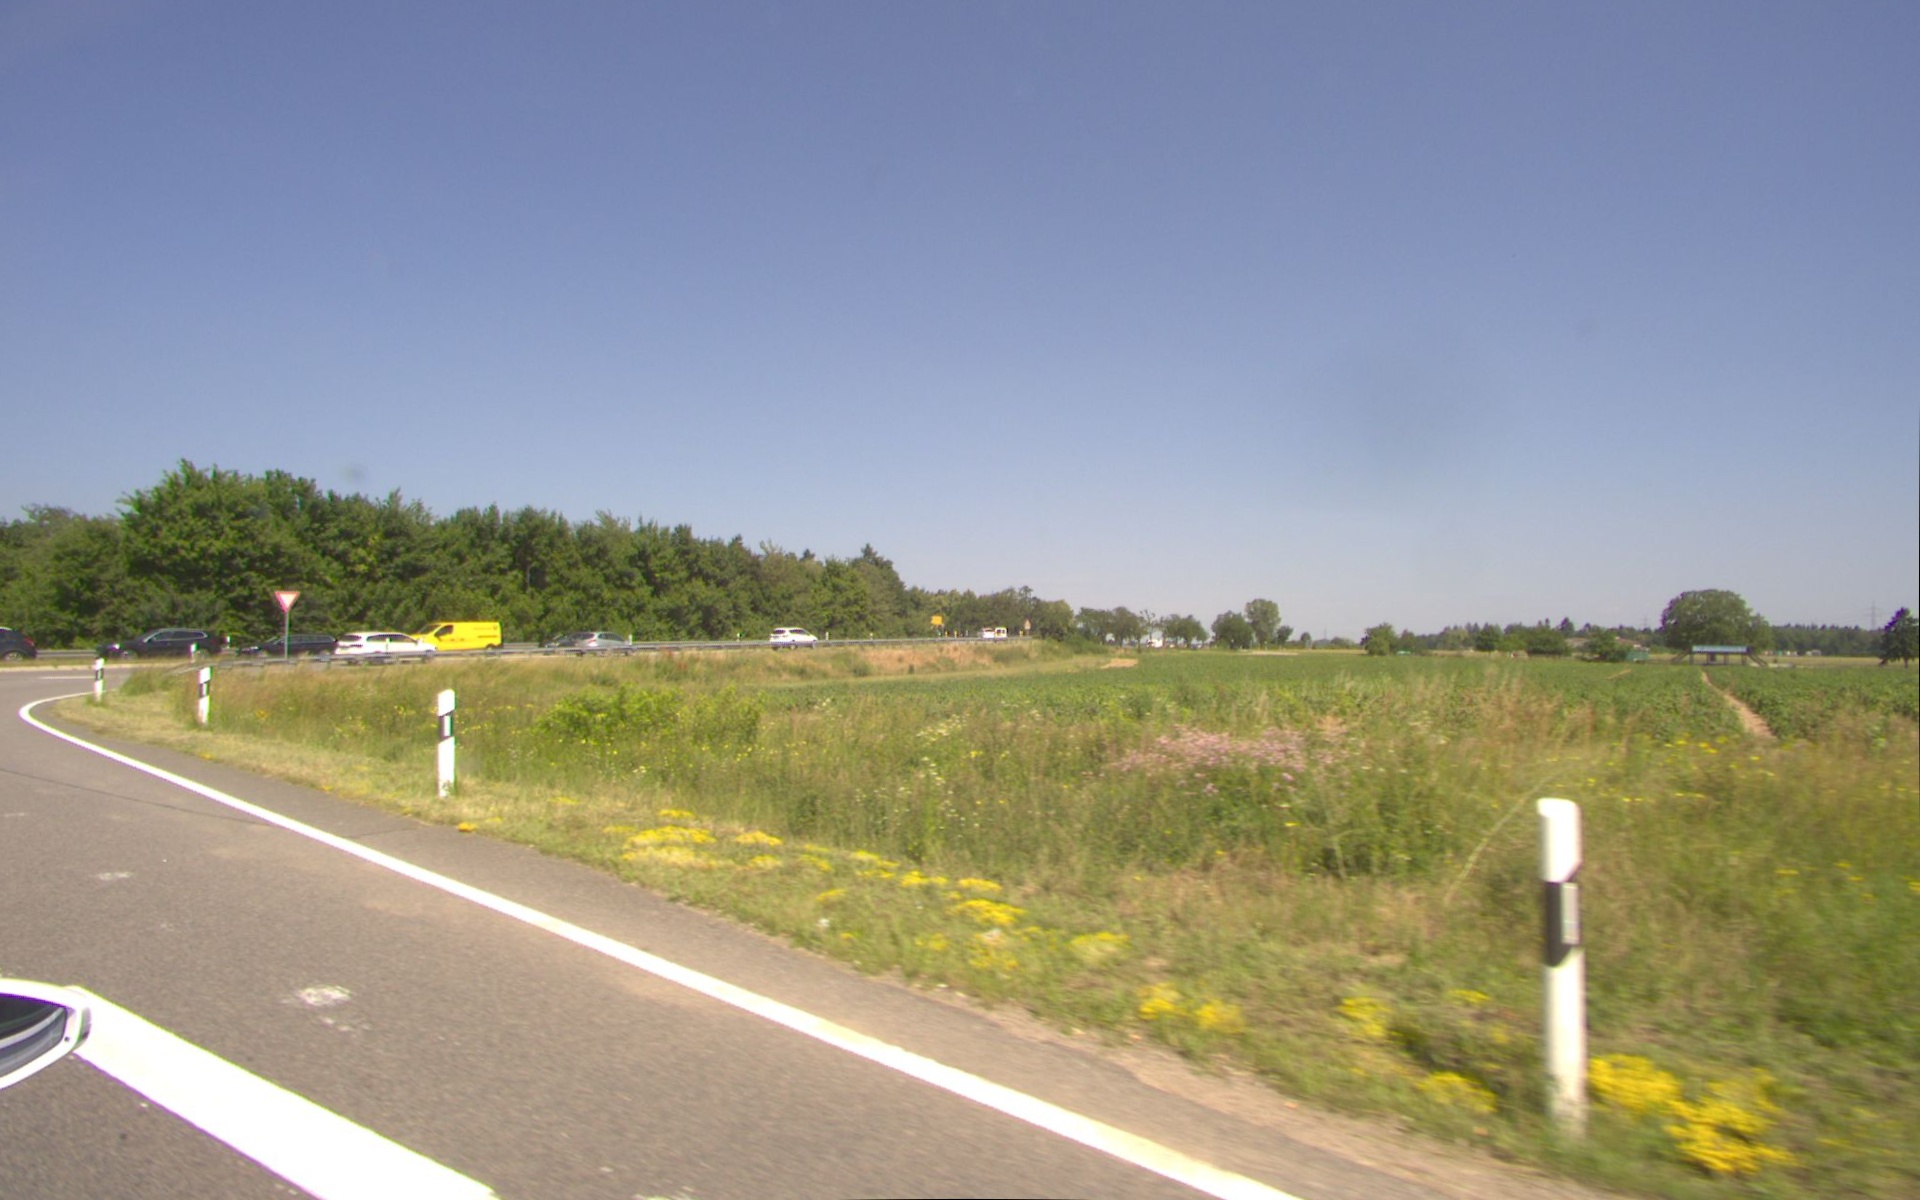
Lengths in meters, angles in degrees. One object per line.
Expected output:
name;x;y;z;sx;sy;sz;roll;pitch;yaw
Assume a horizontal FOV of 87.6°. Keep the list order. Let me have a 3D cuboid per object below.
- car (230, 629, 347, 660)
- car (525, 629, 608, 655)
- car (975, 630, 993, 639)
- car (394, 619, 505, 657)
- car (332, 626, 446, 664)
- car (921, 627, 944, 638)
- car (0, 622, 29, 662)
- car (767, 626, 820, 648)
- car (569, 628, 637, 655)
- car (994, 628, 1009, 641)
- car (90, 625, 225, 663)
car;-34.262;2.250;51.166;1.831;1.533;4.663;-2;-2;40
car;-24.692;2.620;62.924;1.828;1.533;4.670;-2;-2;35
car;3.207;4.676;134.916;1.685;1.203;4.000;0;-3;-9
car;-28.714;2.123;56.531;1.973;2.039;5.310;-1;-2;34
car;-26.547;2.051;46.698;1.710;1.587;4.470;-1;-1;23
car;-4.101;4.836;148.769;1.823;1.533;4.684;0;-2;-23
car;-41.305;1.760;41.364;1.819;1.661;3.971;-2;-2;38
car;-12.540;2.791;75.811;1.711;1.587;4.470;-1;-2;25
car;-21.324;2.482;59.906;1.713;1.587;3.679;-1;-2;28
car;5.155;4.229;122.871;1.684;1.589;4.002;-1;-2;4
car;-36.313;1.972;45.425;1.744;1.618;4.474;-2;-2;35
